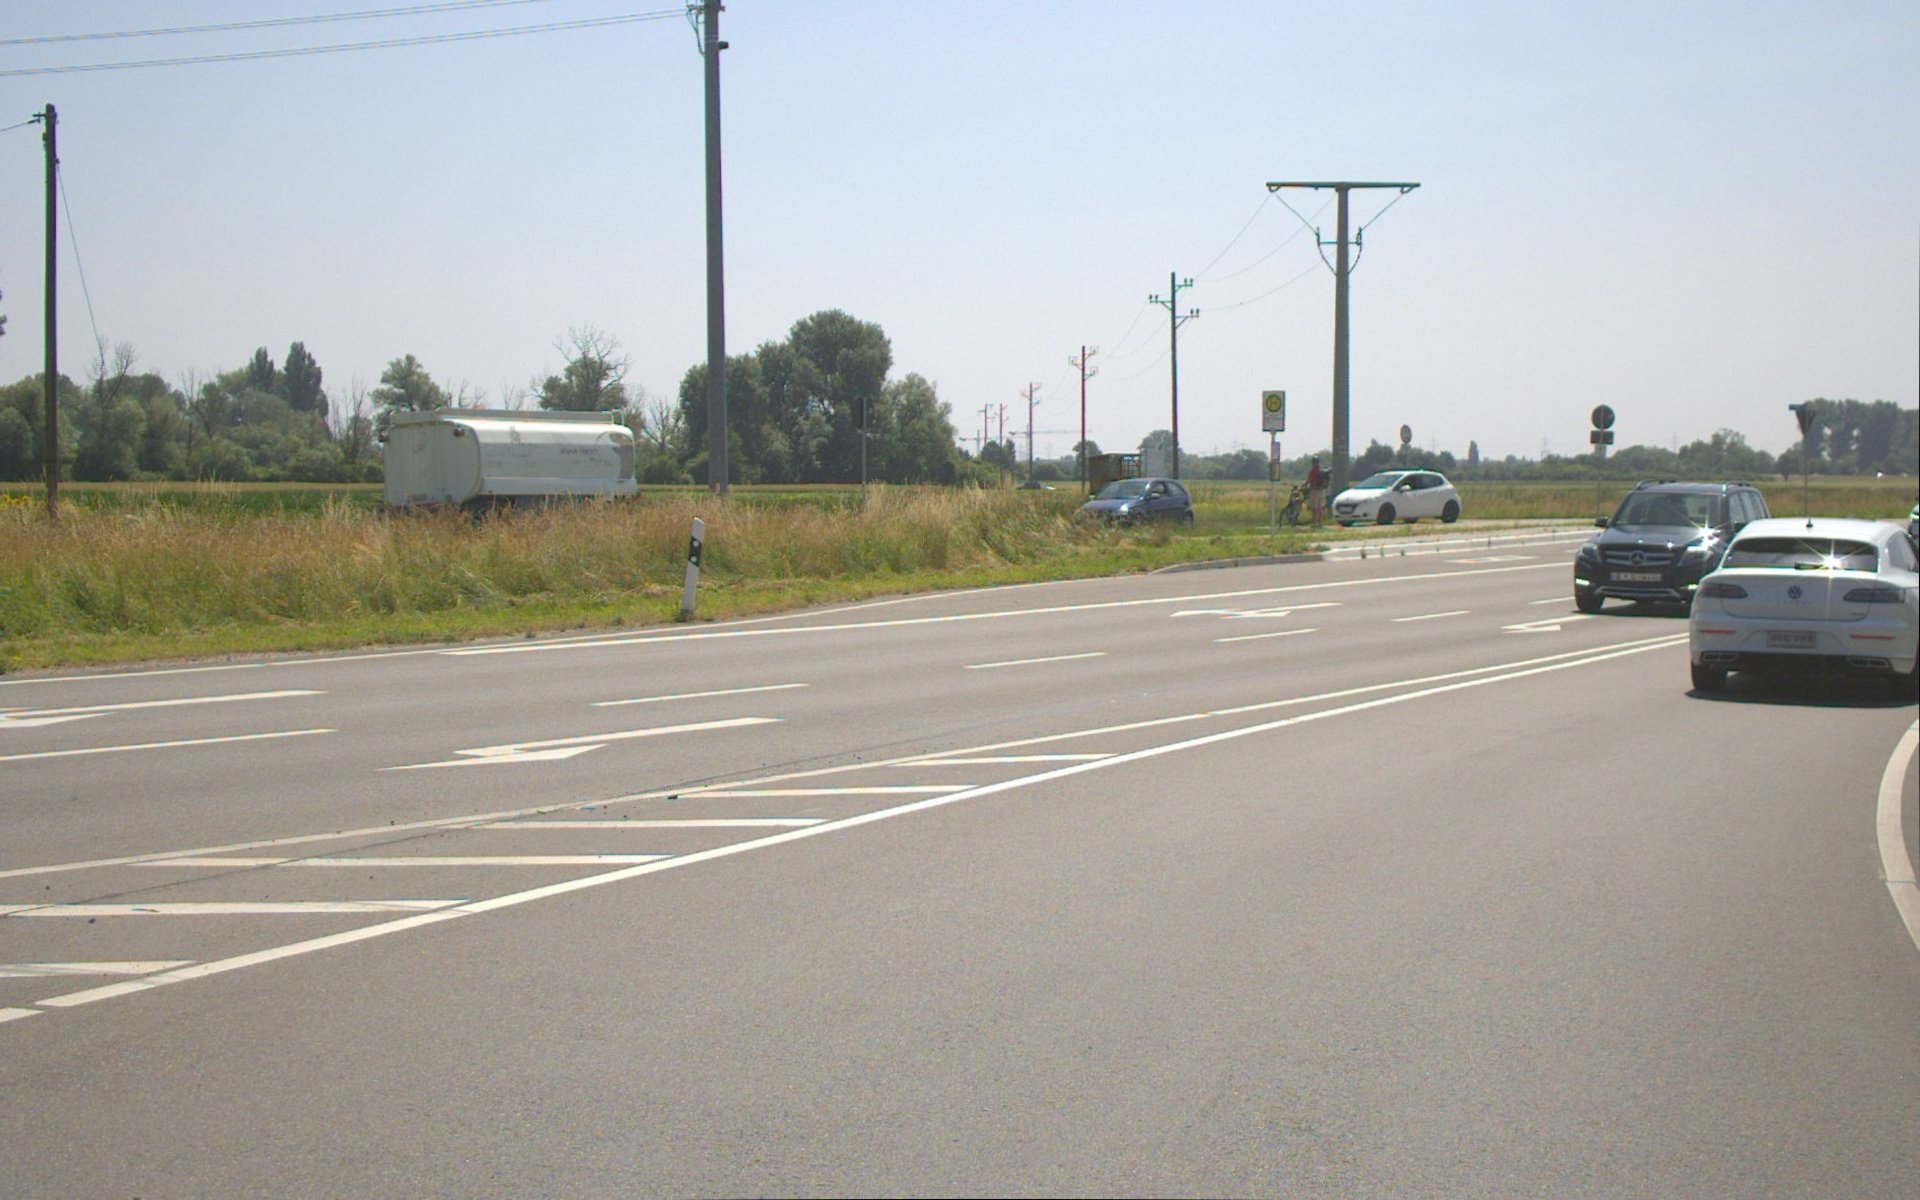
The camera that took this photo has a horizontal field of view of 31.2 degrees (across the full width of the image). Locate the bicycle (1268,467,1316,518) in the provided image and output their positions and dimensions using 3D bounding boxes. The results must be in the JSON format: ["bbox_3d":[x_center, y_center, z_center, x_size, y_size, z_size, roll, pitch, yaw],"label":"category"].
[{"bbox_3d":[8.354,-2.693,86.501,0.492,1.243,1.507,3,2,34],"label":"bicycle"}]

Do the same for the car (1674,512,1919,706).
[{"bbox_3d":[7.282,0.017,28.879,1.850,1.428,4.604,3,2,20],"label":"car"}]

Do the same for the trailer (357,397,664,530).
[{"bbox_3d":[-8.751,-2.695,67.610,2.682,2.447,6.373,3,3,29],"label":"trailer"}]

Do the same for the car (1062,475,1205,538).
[{"bbox_3d":[4.226,-2.278,83.145,1.677,1.382,3.831,3,4,34],"label":"car"}]

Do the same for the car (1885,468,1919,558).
[{"bbox_3d":[19.126,-1.633,65.353,1.881,1.645,4.836,3,3,28],"label":"car"}]

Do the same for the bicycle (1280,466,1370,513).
[{"bbox_3d":[11.131,-3.354,104.900,2.610,1.367,0.901,0,0,14],"label":"bicycle"}]

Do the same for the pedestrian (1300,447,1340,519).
[{"bbox_3d":[9.056,-2.943,86.514,0.610,1.779,0.844,3,2,35],"label":"pedestrian"}]

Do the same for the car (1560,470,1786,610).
[{"bbox_3d":[9.127,-0.808,43.785,1.868,1.644,4.322,2,3,24],"label":"car"}]

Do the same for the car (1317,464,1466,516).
[{"bbox_3d":[11.907,-3.029,94.688,4.025,1.327,1.696,0,3,-38],"label":"car"}]
